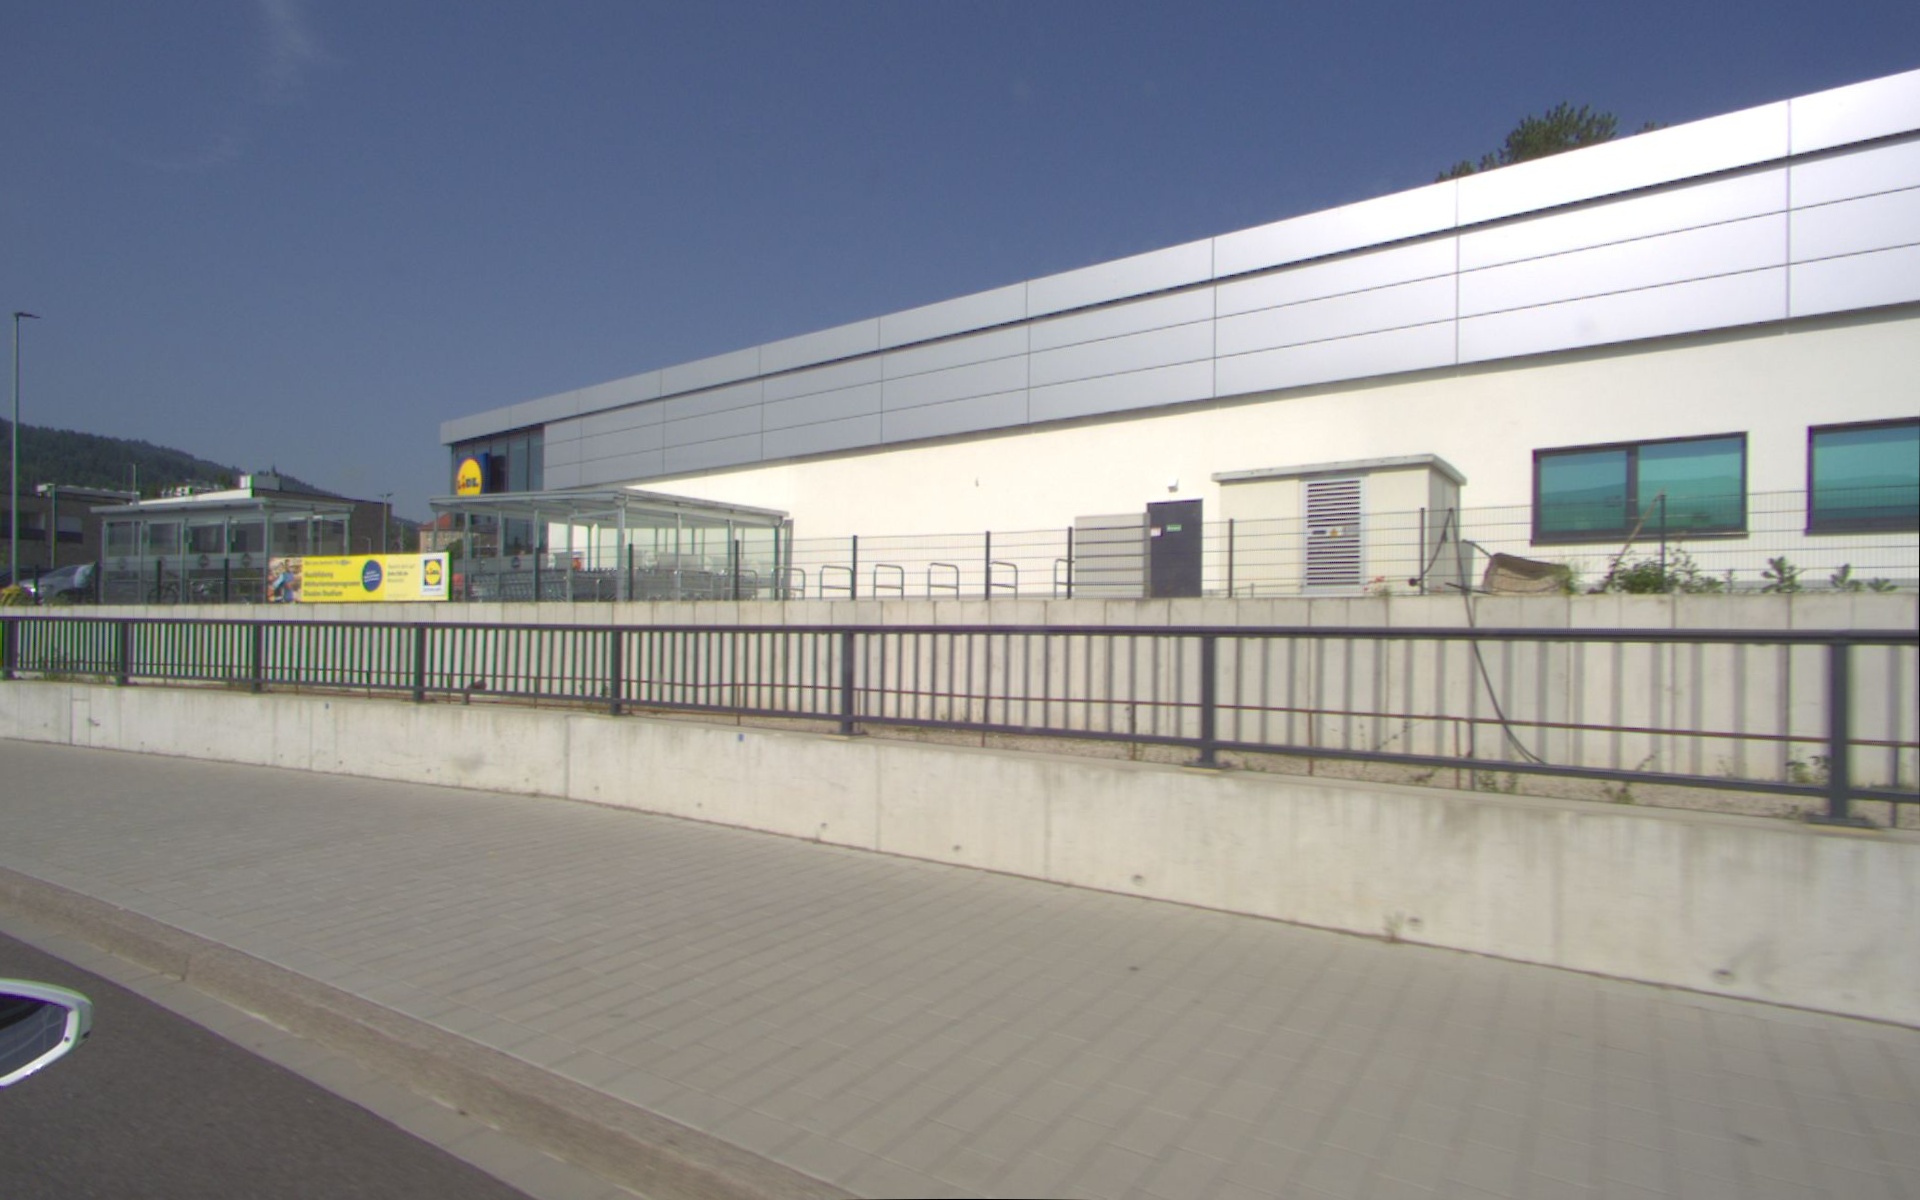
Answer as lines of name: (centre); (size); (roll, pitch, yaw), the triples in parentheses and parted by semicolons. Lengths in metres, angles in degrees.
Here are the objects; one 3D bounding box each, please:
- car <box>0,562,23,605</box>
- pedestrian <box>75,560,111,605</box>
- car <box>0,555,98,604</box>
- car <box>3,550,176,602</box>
car: (-33.903, -0.625, 33.058); (1.693, 1.422, 4.015); (1, -2, 15)
pedestrian: (-26.147, -0.517, 30.196); (0.645, 1.329, 0.548); (0, -1, 18)
car: (-30.292, -0.661, 31.966); (1.458, 1.422, 4.072); (1, -2, 15)
car: (-27.078, -0.704, 31.310); (1.650, 1.382, 3.815); (1, -2, 15)
